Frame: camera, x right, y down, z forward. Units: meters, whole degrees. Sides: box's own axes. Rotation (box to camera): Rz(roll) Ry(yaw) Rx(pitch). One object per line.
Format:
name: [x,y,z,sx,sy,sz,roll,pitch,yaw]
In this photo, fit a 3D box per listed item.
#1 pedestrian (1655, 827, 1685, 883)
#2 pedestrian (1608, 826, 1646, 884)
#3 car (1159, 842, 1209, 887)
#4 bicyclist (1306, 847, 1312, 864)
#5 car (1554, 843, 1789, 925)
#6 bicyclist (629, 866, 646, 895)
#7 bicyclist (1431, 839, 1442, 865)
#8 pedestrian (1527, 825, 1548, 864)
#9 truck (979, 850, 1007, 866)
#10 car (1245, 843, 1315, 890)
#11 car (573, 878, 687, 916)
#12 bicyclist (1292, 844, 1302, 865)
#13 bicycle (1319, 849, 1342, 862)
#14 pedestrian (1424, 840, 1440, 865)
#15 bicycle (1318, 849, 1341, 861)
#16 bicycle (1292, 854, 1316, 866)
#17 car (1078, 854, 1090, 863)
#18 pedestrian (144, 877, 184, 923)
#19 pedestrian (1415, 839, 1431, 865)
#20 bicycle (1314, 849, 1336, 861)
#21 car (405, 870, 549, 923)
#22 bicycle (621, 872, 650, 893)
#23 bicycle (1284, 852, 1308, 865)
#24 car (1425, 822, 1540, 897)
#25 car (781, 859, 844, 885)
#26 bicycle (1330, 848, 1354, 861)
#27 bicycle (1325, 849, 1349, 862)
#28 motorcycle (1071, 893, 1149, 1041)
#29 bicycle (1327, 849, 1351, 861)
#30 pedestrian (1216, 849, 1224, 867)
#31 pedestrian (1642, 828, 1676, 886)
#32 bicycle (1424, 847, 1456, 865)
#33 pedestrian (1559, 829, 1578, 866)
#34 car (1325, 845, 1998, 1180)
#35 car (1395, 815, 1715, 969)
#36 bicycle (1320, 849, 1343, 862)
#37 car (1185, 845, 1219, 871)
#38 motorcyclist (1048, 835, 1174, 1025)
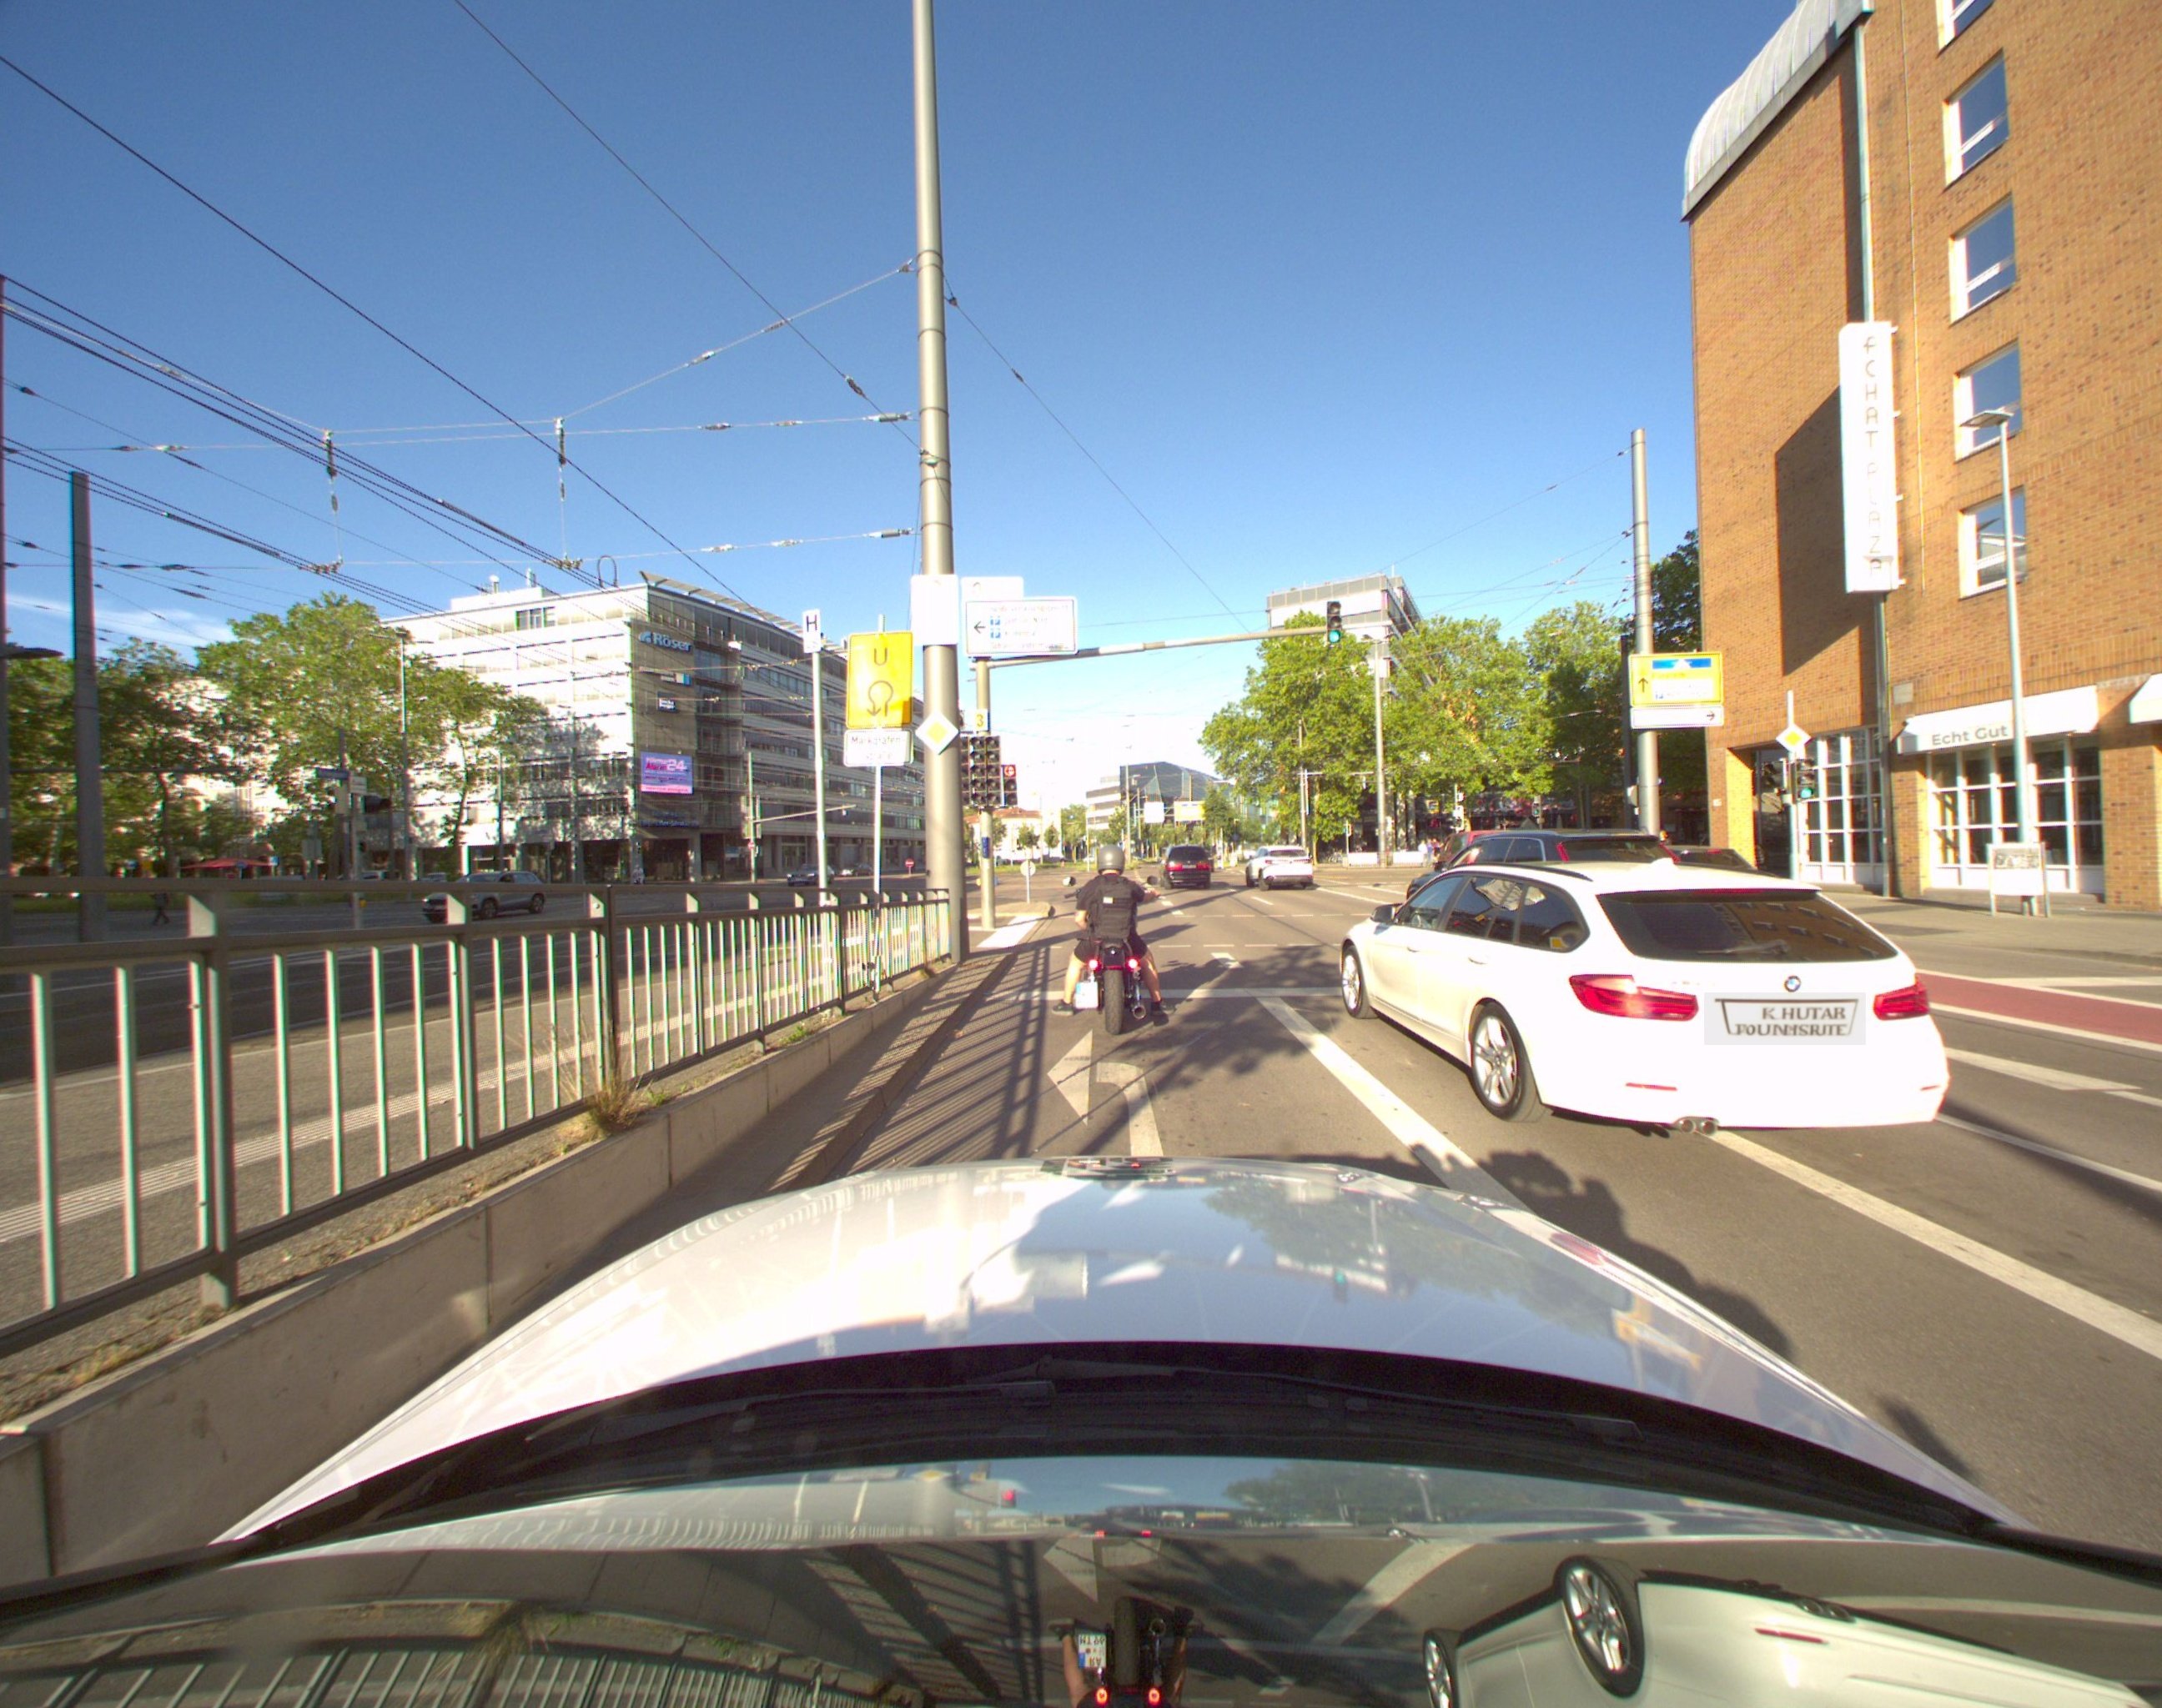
pedestrian: [19.431,0.038,26.854,0.727,1.792,0.515,-1,-1,42]
pedestrian: [17.451,0.045,26.035,0.591,1.780,0.681,-5,-2,-1]
car: [4.039,0.430,32.394,1.795,1.678,4.046,0,-1,5]
bicyclist: [18.363,0.101,65.545,0.377,1.373,0.347,-1,-1,24]
car: [11.661,0.554,16.484,1.727,1.450,4.037,0,-1,-2]
bicyclist: [-24.262,1.435,44.538,0.584,1.534,0.650,0,-1,2]
bicyclist: [25.307,-0.156,57.989,0.582,1.837,0.403,0,-1,1]
pedestrian: [22.539,-0.472,40.220,0.783,1.898,0.821,-1,-1,21]
truck: [-11.252,0.555,104.524,1.980,1.879,5.172,-4,-1,12]
car: [7.292,0.411,30.169,1.725,1.598,4.043,0,0,2]
car: [-13.790,1.293,25.023,2.884,1.063,1.235,0,-1,-19]
bicyclist: [17.739,0.035,66.799,0.682,1.673,0.544,-2,-1,21]
bicycle: [21.610,0.125,70.496,1.874,1.046,0.360,0,0,1]
pedestrian: [21.115,-0.090,49.015,0.567,1.479,0.698,0,-1,-18]
bicycle: [21.676,0.124,70.996,1.874,1.046,0.360,0,0,1]
bicycle: [18.012,0.466,65.705,1.809,0.925,0.360,-1,-1,25]
car: [0.608,0.841,153.657,1.815,1.430,4.539,-2,0,7]
pedestrian: [-34.649,1.734,30.771,0.587,1.691,0.795,0,-1,2]
pedestrian: [20.521,-0.120,48.811,0.566,1.532,0.699,0,-1,-13]
bicycle: [21.604,0.127,72.148,1.874,1.046,0.360,0,0,1]
car: [-20.434,1.380,27.805,1.821,1.568,4.237,-2,-1,-2]
bicycle: [-24.289,1.544,44.454,0.458,1.090,1.815,-3,-1,2]
bicycle: [17.627,0.354,66.836,1.854,1.044,0.540,-1,-1,20]
car: [12.088,0.181,24.839,1.793,2.009,4.484,-2,-1,9]
car: [-17.874,1.188,54.548,1.813,1.568,4.710,-3,-1,12]
bicycle: [21.557,0.068,67.225,1.874,1.046,0.360,0,-1,1]
bicycle: [21.609,0.109,68.821,1.874,1.046,0.360,0,-1,1]
motorcycle: [0.263,0.939,7.505,0.598,1.036,2.235,0,0,2]
bicycle: [21.557,0.088,68.007,1.874,1.046,0.360,0,-1,1]
pedestrian: [12.021,0.323,70.354,0.587,1.557,0.488,0,-1,-6]
pedestrian: [18.259,0.092,25.724,0.588,1.780,0.684,-3,-1,13]
bicycle: [25.561,0.151,57.976,2.034,1.214,0.421,0,-1,2]
pedestrian: [22.433,-0.296,37.495,0.634,1.700,0.727,-1,-1,21]
car: [3.199,0.721,5.782,1.725,1.457,4.419,0,-1,2]
car: [6.283,0.454,11.553,1.727,1.732,4.607,0,-1,-2]
bicycle: [21.557,0.133,70.010,1.874,1.046,0.360,0,-1,1]
car: [8.117,0.295,55.012,1.797,1.678,4.041,0,-1,1]
motorcyclist: [0.269,0.645,7.364,1.027,1.593,0.874,-2,0,1]
